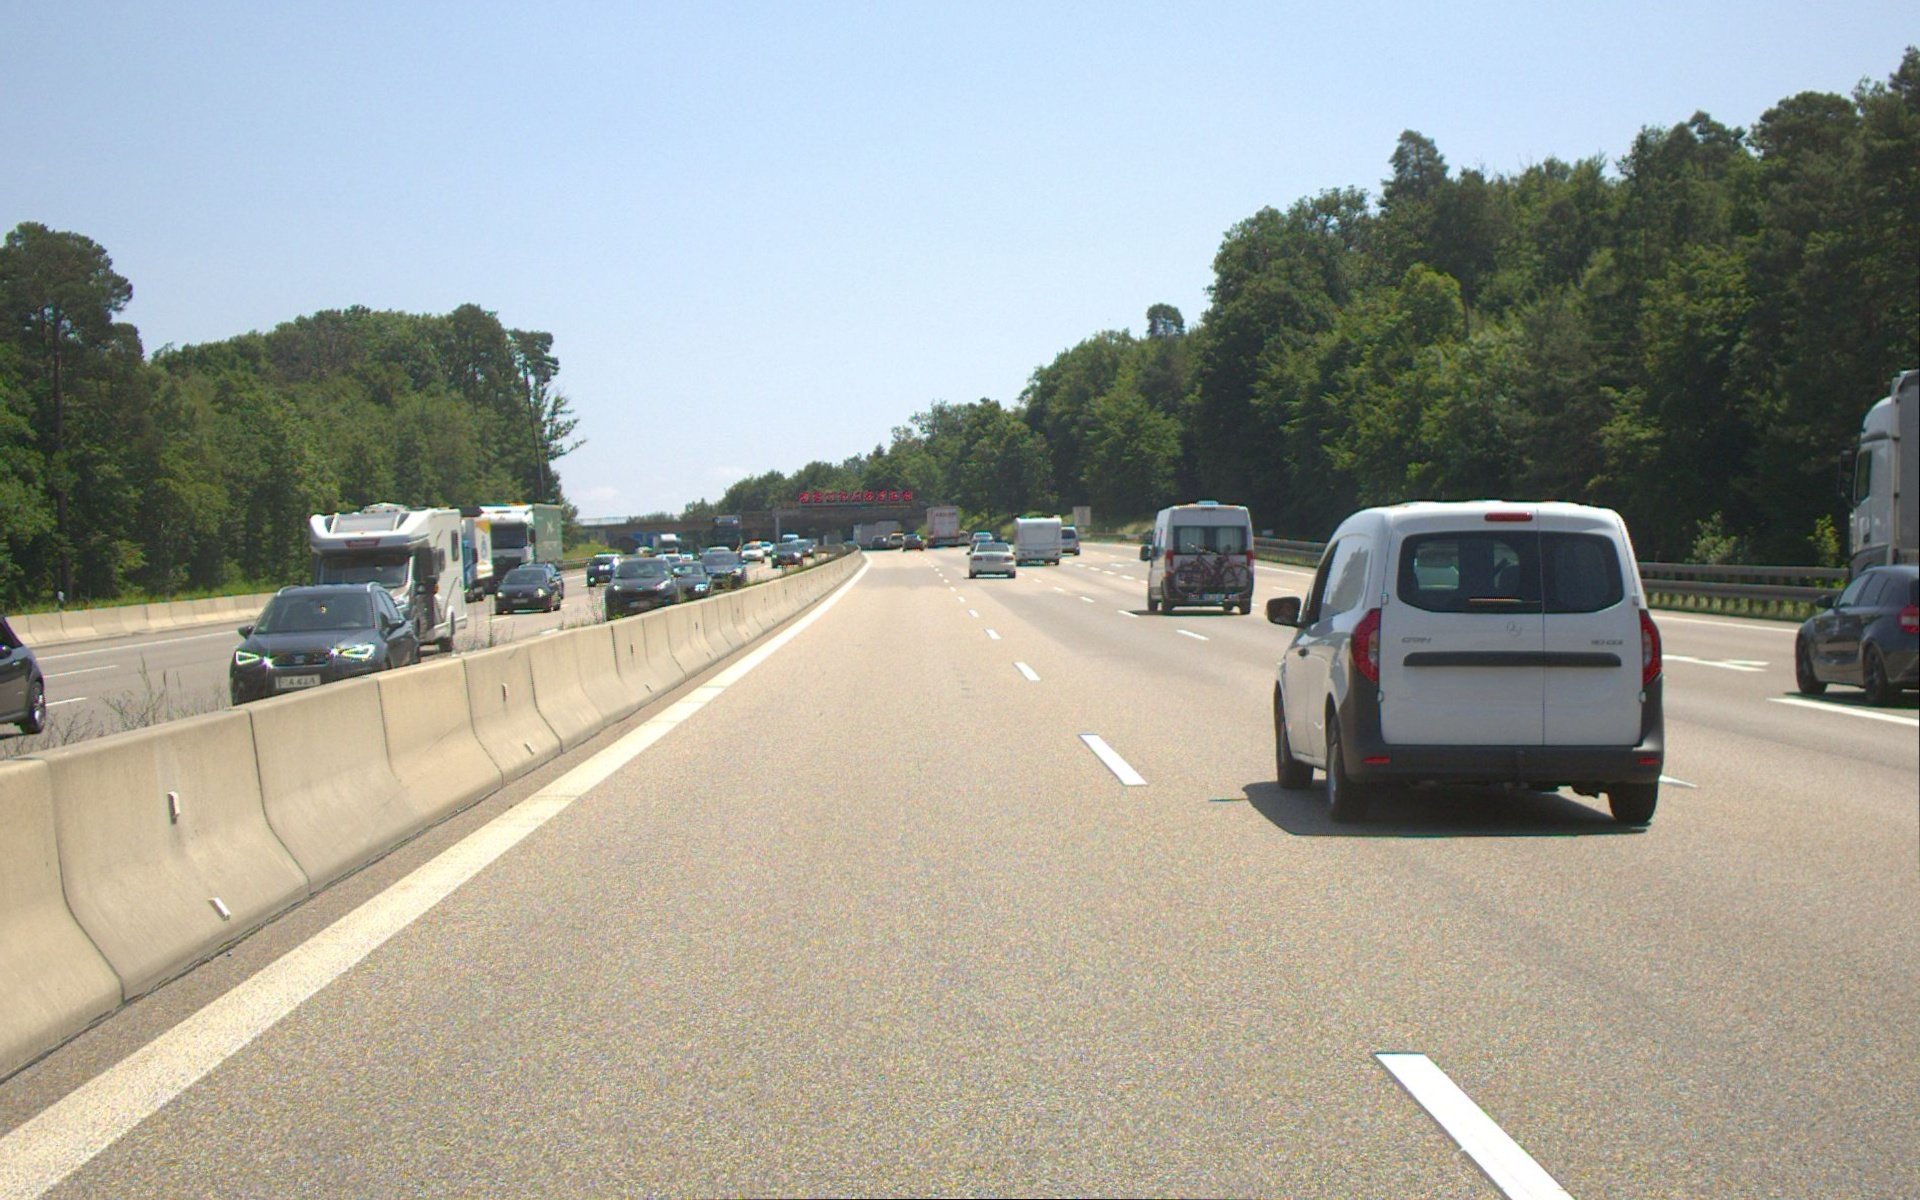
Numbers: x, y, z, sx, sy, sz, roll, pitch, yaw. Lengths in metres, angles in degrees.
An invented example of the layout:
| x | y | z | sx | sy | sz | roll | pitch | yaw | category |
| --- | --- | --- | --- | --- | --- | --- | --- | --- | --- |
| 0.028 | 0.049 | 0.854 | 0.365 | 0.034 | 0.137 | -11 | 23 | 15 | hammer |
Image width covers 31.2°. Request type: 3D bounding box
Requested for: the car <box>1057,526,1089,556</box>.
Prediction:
| x | y | z | sx | sy | sz | roll | pitch | yaw | category |
| --- | --- | --- | --- | --- | --- | --- | --- | --- | --- |
| 7.118 | -3.713 | 216.998 | 1.820 | 1.853 | 4.000 | -1 | 1 | -1 | car |

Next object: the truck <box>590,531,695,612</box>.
| x | y | z | sx | sy | sz | roll | pitch | yaw | category |
| --- | --- | --- | --- | --- | --- | --- | --- | --- | --- |
| -8.337 | -0.741 | 90.623 | 2.381 | 2.007 | 4.000 | -2 | 0 | -1 | truck |

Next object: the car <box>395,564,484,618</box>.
| x | y | z | sx | sy | sz | roll | pitch | yaw | category |
| --- | --- | --- | --- | --- | --- | --- | --- | --- | --- |
| -13.855 | -0.236 | 91.630 | 1.835 | 1.333 | 3.643 | -2 | 0 | -1 | car |

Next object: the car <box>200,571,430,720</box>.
| x | y | z | sx | sy | sz | roll | pitch | yaw | category |
| --- | --- | --- | --- | --- | --- | --- | --- | --- | --- |
| -7.406 | 0.475 | 39.924 | 1.723 | 1.532 | 5.056 | -2 | 1 | -1 | car |

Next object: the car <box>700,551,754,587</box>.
| x | y | z | sx | sy | sz | roll | pitch | yaw | category |
| --- | --- | --- | --- | --- | --- | --- | --- | --- | --- |
| -8.858 | -1.189 | 130.891 | 1.835 | 1.333 | 3.643 | -1 | 1 | -1 | car |

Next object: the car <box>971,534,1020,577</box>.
| x | y | z | sx | sy | sz | roll | pitch | yaw | category |
| --- | --- | --- | --- | --- | --- | --- | --- | --- | --- |
| 1.426 | -1.787 | 140.418 | 1.843 | 1.623 | 4.553 | -2 | 0 | -1 | car |

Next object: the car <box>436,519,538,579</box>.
| x | y | z | sx | sy | sz | roll | pitch | yaw | category |
| --- | --- | --- | --- | --- | --- | --- | --- | --- | --- |
| -11.457 | -1.237 | 83.489 | 1.752 | 1.372 | 4.491 | -1 | 1 | 1 | car |

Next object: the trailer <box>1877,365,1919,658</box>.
| x | y | z | sx | sy | sz | roll | pitch | yaw | category |
| --- | --- | --- | --- | --- | --- | --- | --- | --- | --- |
| 14.578 | -1.080 | 40.897 | 3.287 | 3.917 | 13.891 | 0 | 1 | -1 | trailer |

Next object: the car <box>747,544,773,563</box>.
| x | y | z | sx | sy | sz | roll | pitch | yaw | category |
| --- | --- | --- | --- | --- | --- | --- | --- | --- | --- |
| -14.681 | -3.384 | 252.032 | 1.730 | 1.333 | 3.643 | -1 | 1 | -1 | car |

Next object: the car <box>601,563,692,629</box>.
| x | y | z | sx | sy | sz | roll | pitch | yaw | category |
| --- | --- | --- | --- | --- | --- | --- | --- | --- | --- |
| -8.104 | -0.132 | 89.164 | 1.993 | 1.612 | 4.000 | -1 | 1 | -1 | car |

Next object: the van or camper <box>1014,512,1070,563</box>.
| x | y | z | sx | sy | sz | roll | pitch | yaw | category |
| --- | --- | --- | --- | --- | --- | --- | --- | --- | --- |
| 4.291 | -3.253 | 180.246 | 2.645 | 2.530 | 6.502 | -1 | 0 | -1 | van or camper |

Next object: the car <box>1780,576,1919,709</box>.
| x | y | z | sx | sy | sz | roll | pitch | yaw | category |
| --- | --- | --- | --- | --- | --- | --- | --- | --- | --- |
| 9.746 | 0.395 | 35.111 | 1.670 | 1.269 | 4.290 | 0 | 0 | -1 | car |

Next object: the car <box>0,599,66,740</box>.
| x | y | z | sx | sy | sz | roll | pitch | yaw | category |
| --- | --- | --- | --- | --- | --- | --- | --- | --- | --- |
| -11.166 | 0.769 | 37.875 | 1.534 | 1.476 | 4.125 | 0 | 1 | 0 | car |

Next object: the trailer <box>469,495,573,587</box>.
| x | y | z | sx | sy | sz | roll | pitch | yaw | category |
| --- | --- | --- | --- | --- | --- | --- | --- | --- | --- |
| -20.538 | -2.720 | 161.498 | 3.537 | 4.055 | 10.371 | -2 | 0 | -1 | trailer |

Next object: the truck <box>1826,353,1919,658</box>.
| x | y | z | sx | sy | sz | roll | pitch | yaw | category |
| --- | --- | --- | --- | --- | --- | --- | --- | --- | --- |
| 14.451 | -1.285 | 47.655 | 3.254 | 4.092 | 5.988 | 0 | 1 | -1 | truck |

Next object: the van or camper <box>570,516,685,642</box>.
| x | y | z | sx | sy | sz | roll | pitch | yaw | category |
| --- | --- | --- | --- | --- | --- | --- | --- | --- | --- |
| -8.541 | -0.553 | 89.032 | 2.198 | 3.046 | 8.028 | -2 | 1 | -1 | van or camper |

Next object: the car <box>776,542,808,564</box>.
| x | y | z | sx | sy | sz | roll | pitch | yaw | category |
| --- | --- | --- | --- | --- | --- | --- | --- | --- | --- |
| -10.442 | -2.930 | 213.657 | 1.835 | 1.333 | 3.643 | -1 | 1 | -1 | car |

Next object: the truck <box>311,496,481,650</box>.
| x | y | z | sx | sy | sz | roll | pitch | yaw | category |
| --- | --- | --- | --- | --- | --- | --- | --- | --- | --- |
| -11.087 | -0.562 | 68.181 | 2.138 | 2.828 | 7.670 | -1 | 1 | -1 | truck |

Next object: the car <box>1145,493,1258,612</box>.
| x | y | z | sx | sy | sz | roll | pitch | yaw | category |
| --- | --- | --- | --- | --- | --- | --- | --- | --- | --- |
| 5.543 | -1.103 | 79.669 | 2.143 | 2.643 | 5.710 | 0 | 1 | -1 | car |

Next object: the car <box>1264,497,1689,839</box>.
| x | y | z | sx | sy | sz | roll | pitch | yaw | category |
| --- | --- | --- | --- | --- | --- | --- | --- | --- | --- |
| 2.954 | 0.358 | 20.620 | 1.860 | 1.819 | 4.612 | 0 | 0 | 0 | car |
